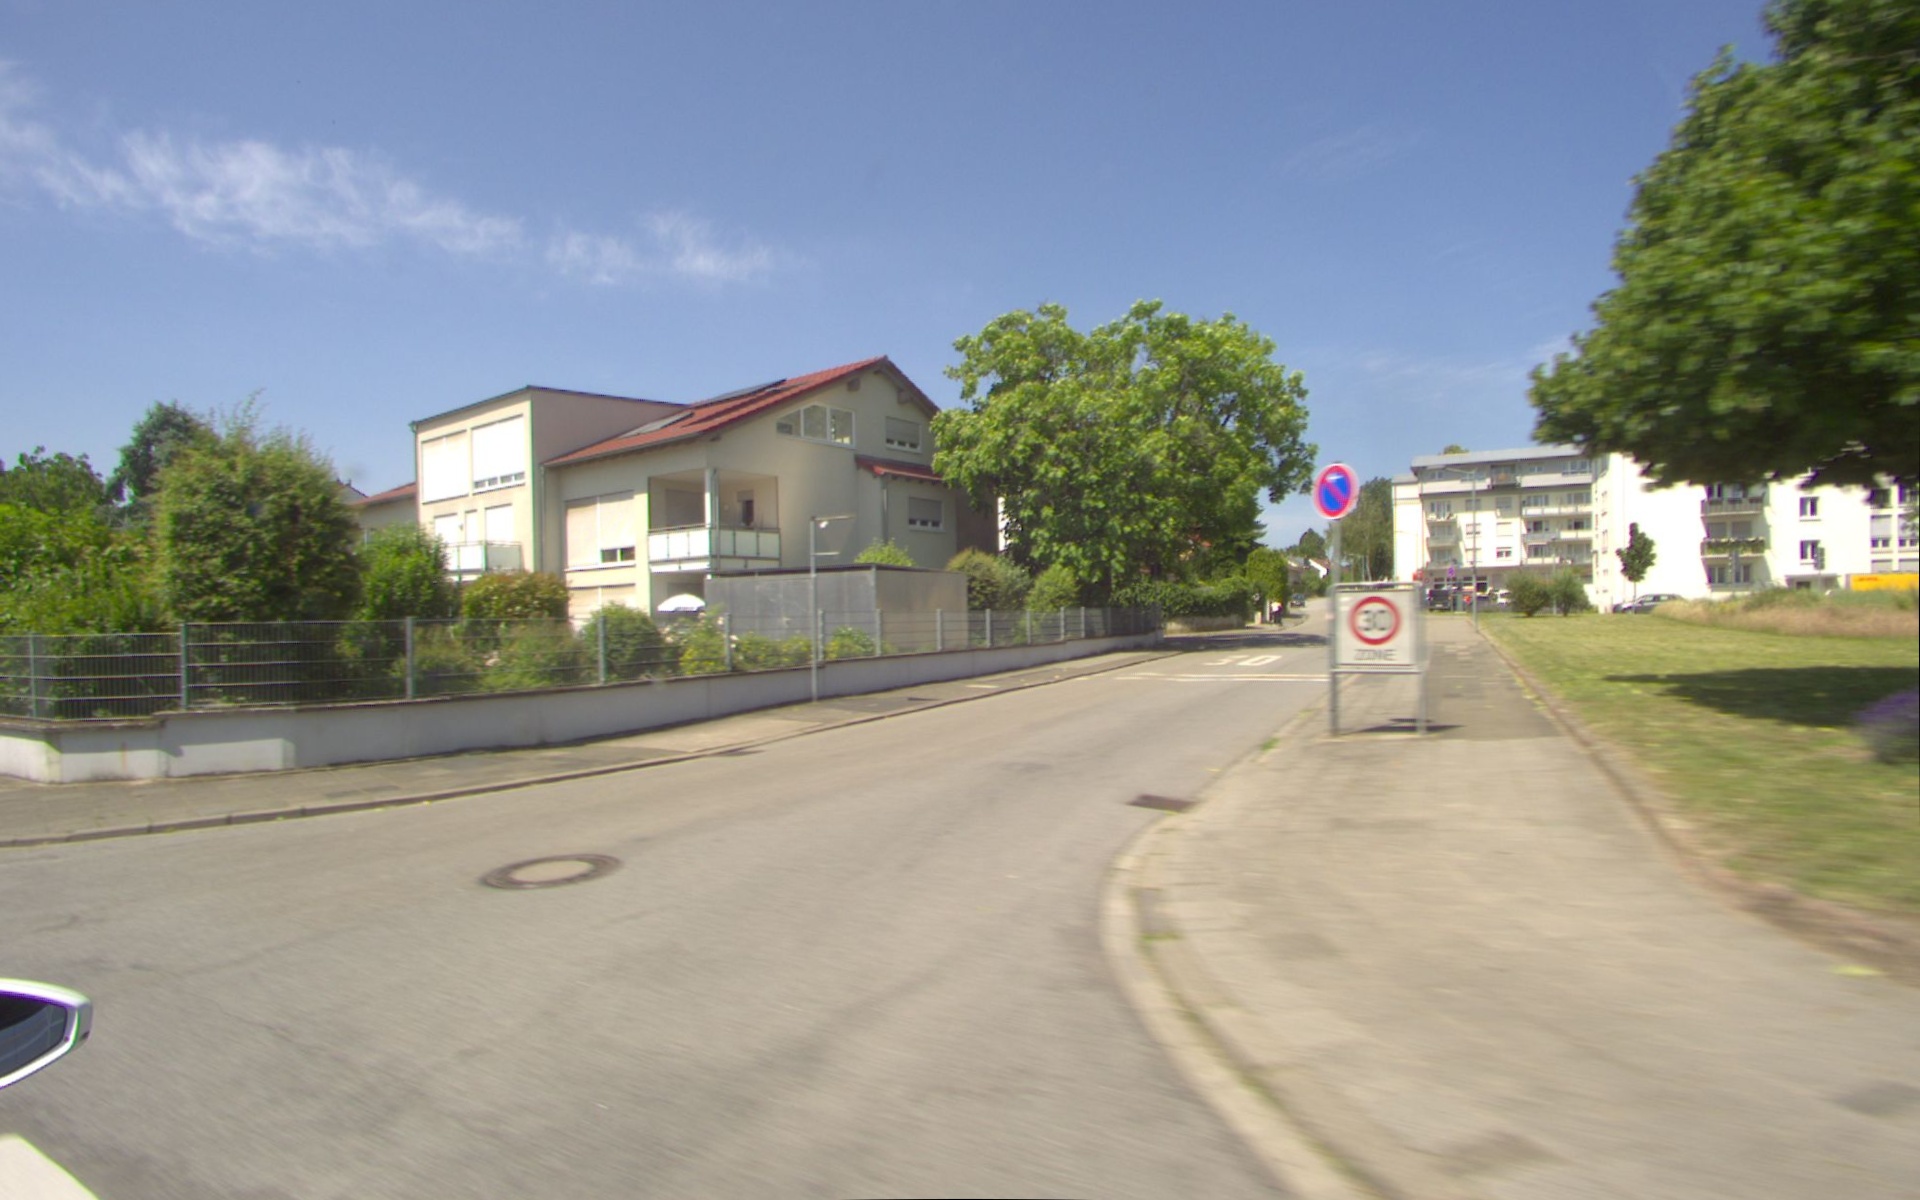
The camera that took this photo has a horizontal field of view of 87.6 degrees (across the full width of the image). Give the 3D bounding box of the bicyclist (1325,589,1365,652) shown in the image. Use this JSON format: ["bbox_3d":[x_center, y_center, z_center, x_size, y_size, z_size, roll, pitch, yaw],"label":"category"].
[{"bbox_3d":[9.748,0.514,25.346,0.842,1.550,0.925,-1,0,26],"label":"bicyclist"}]

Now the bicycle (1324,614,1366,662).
[{"bbox_3d":[9.788,0.942,25.410,0.803,1.118,2.139,-1,0,26],"label":"bicycle"}]

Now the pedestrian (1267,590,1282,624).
[{"bbox_3d":[17.743,0.428,56.515,0.771,1.875,0.630,-1,-2,21],"label":"pedestrian"}]

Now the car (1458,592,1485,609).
[{"bbox_3d":[43.139,0.062,84.399,1.502,1.343,3.161,-1,0,36],"label":"car"}]

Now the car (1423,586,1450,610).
[{"bbox_3d":[40.859,-0.184,85.842,1.502,1.952,3.161,-1,0,36],"label":"car"}]

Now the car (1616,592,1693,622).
[{"bbox_3d":[43.041,0.464,62.141,3.776,1.649,1.504,-2,-3,29],"label":"car"}]
